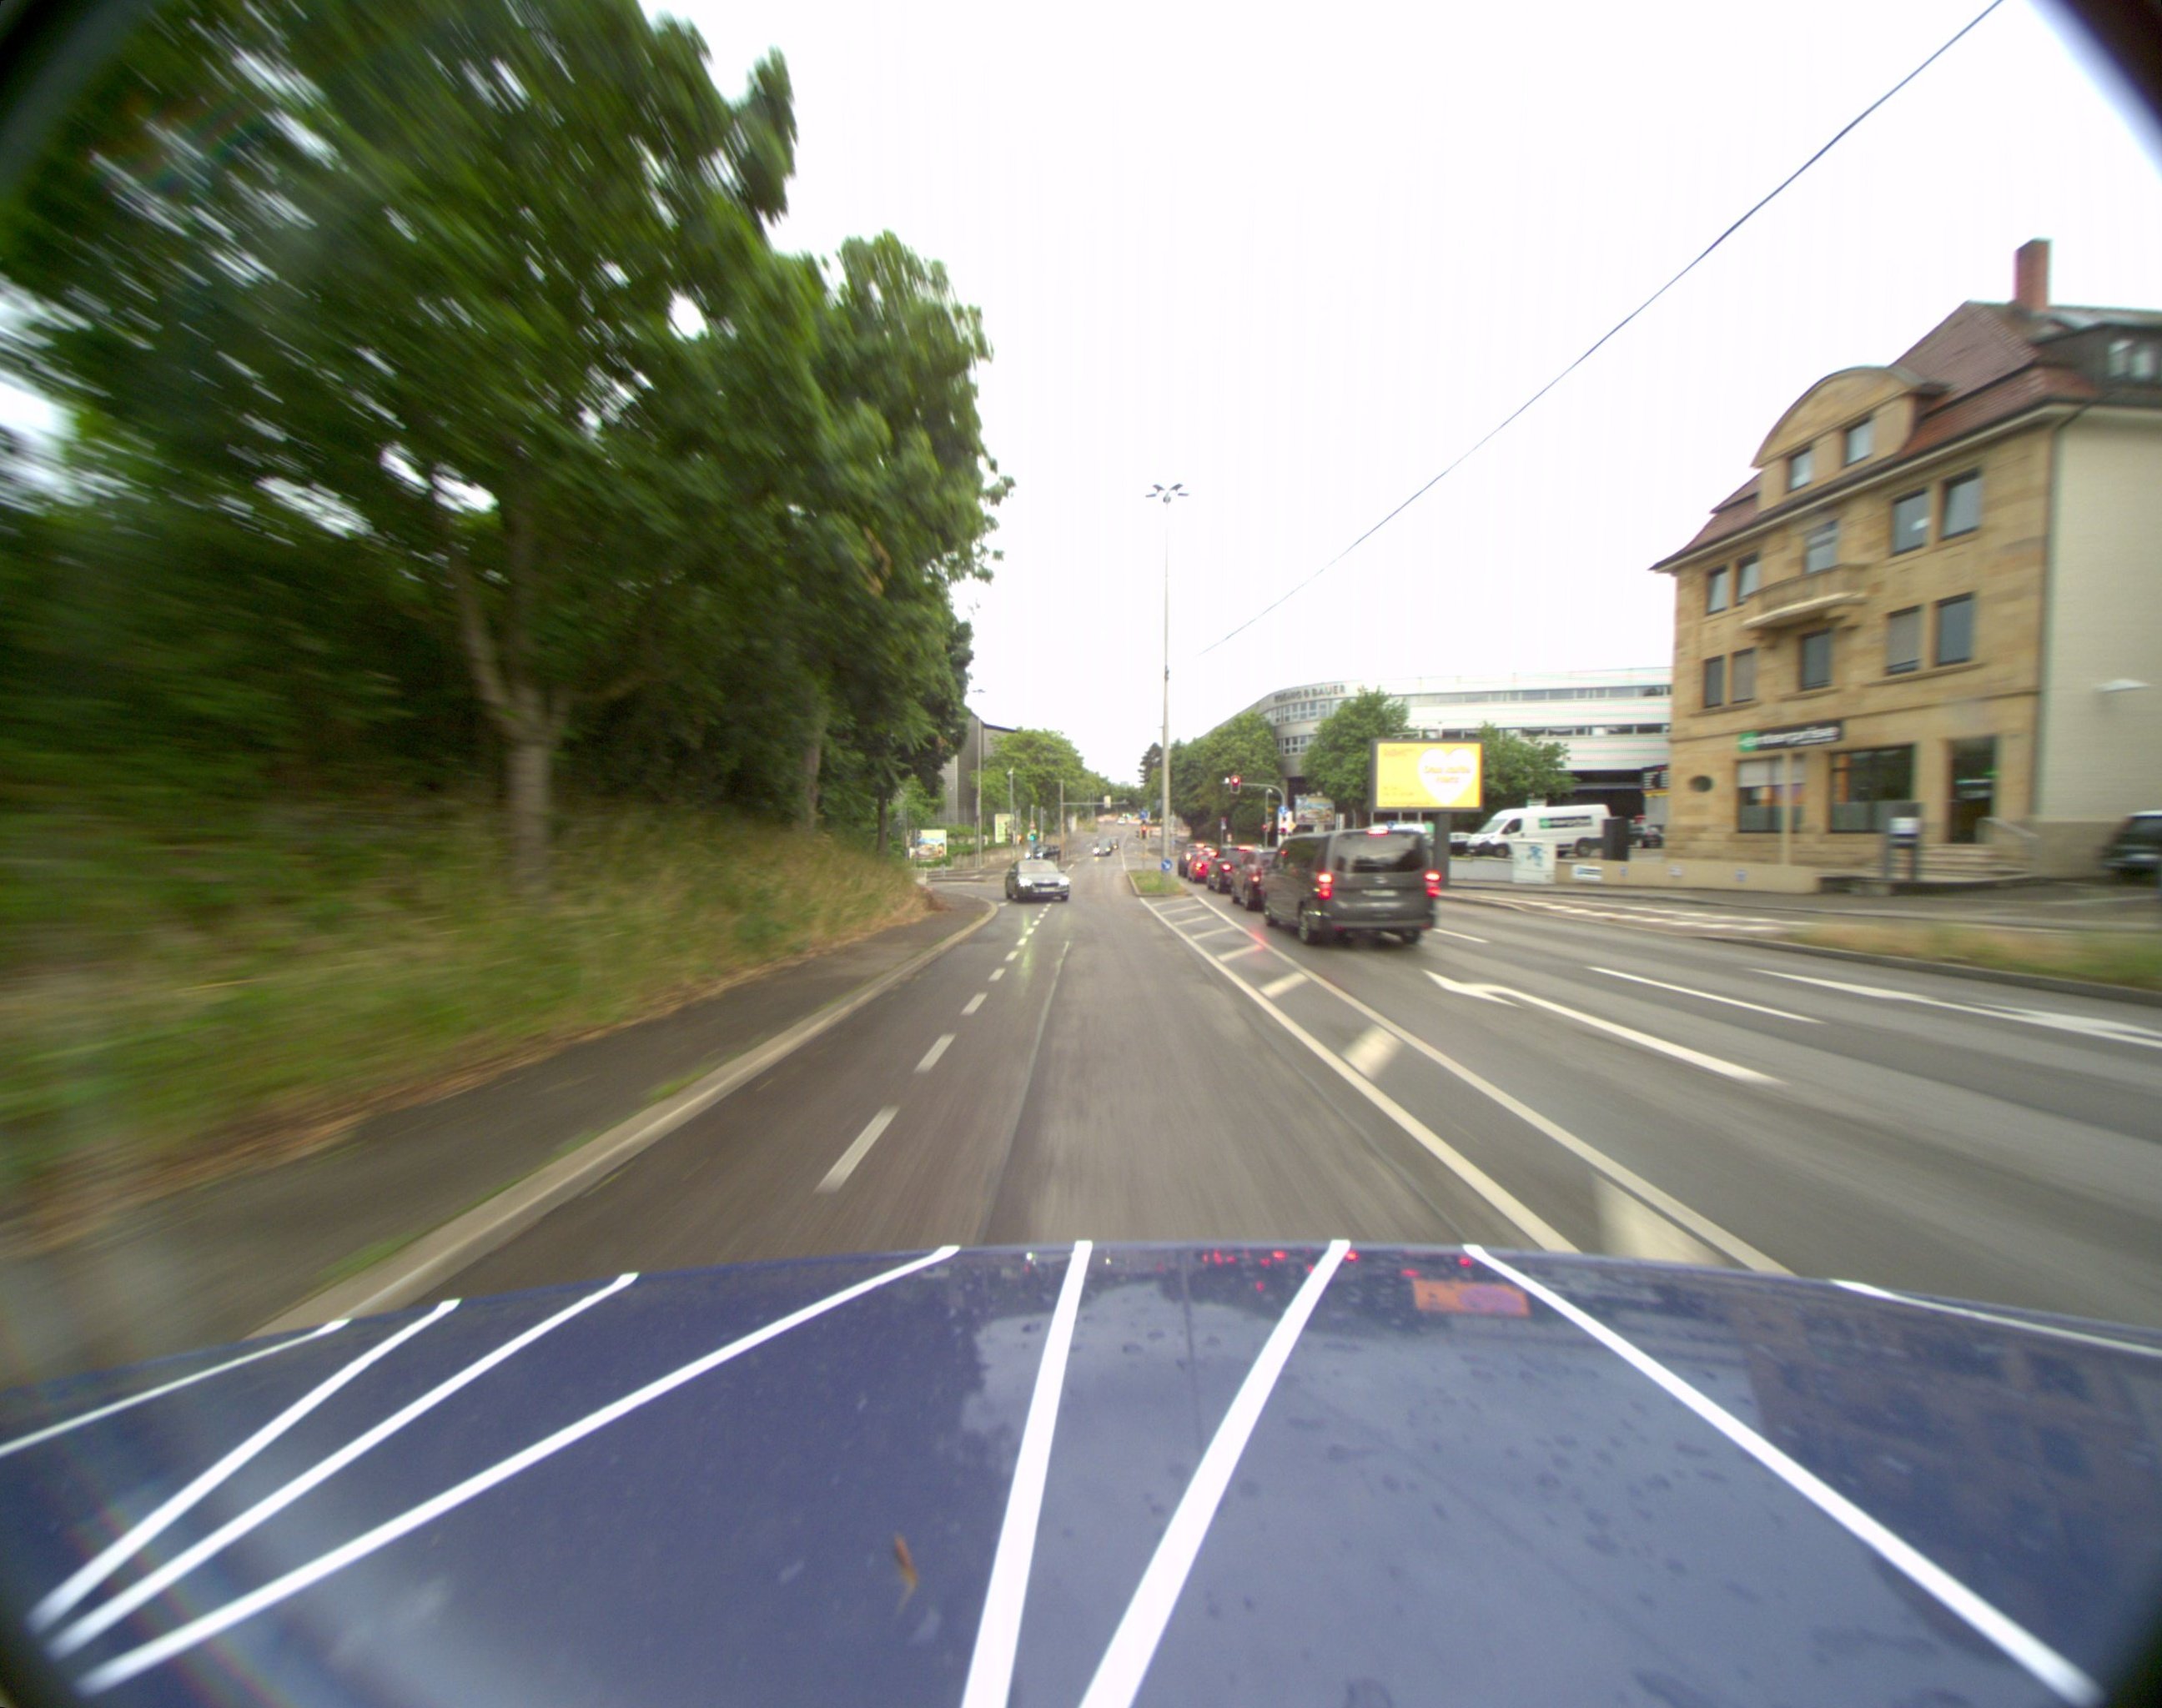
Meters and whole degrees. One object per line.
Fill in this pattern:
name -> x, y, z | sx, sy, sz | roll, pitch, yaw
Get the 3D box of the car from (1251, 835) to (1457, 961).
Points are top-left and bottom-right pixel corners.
car -> 4.581, 0.641, 13.715 | 2.019, 1.856, 5.041 | 0, 0, 2

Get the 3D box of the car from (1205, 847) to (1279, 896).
car -> 5.905, 0.569, 28.435 | 1.959, 1.687, 4.626 | 0, 1, 3

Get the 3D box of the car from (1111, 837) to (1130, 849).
car -> 5.223, -1.437, 99.932 | 1.750, 1.362, 3.758 | -3, 2, 14

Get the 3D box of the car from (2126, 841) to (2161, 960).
car -> 14.752, 0.577, 7.769 | 1.692, 1.525, 4.672 | 0, -1, -1

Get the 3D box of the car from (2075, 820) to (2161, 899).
car -> 24.411, 0.094, 16.649 | 3.051, 1.666, 1.714 | 0, 3, -3

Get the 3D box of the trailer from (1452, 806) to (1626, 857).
trailer -> 22.521, -1.123, 37.622 | 7.115, 2.415, 2.394 | 0, 3, 0

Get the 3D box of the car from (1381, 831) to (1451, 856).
car -> 20.786, -0.673, 47.236 | 3.620, 1.361, 1.741 | -3, 2, 2

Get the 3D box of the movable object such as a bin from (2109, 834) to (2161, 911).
movable object such as a bin -> 20.362, 0.328, 14.068 | 1.189, 1.398, 1.098 | -2, 0, -3

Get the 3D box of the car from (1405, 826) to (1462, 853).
car -> 20.589, -0.863, 44.426 | 2.684, 1.416, 1.227 | -3, 2, 2

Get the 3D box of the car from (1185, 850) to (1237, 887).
car -> 6.169, 0.625, 36.431 | 1.810, 1.522, 4.440 | 0, 2, 1

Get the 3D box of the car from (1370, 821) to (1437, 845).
car -> 21.064, -1.369, 49.741 | 3.620, 1.361, 1.872 | -3, 2, 2

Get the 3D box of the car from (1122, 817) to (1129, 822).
car -> 11.232, -8.763, 192.829 | 1.532, 1.307, 3.231 | 0, 2, 6

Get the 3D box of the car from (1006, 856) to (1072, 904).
car -> -1.574, 0.864, 27.073 | 1.812, 1.509, 4.049 | -3, 0, -10

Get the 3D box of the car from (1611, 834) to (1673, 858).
car -> 34.359, -0.517, 46.667 | 1.371, 1.398, 4.345 | 1, 1, 13

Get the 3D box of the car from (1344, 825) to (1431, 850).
car -> 22.038, -1.195, 54.776 | 5.371, 1.792, 2.218 | 0, 3, -6

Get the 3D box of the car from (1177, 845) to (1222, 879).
car -> 6.625, 0.385, 42.898 | 1.938, 1.808, 5.170 | 0, 1, 2

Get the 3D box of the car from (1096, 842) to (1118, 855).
car -> 2.899, -0.605, 83.621 | 1.595, 1.253, 3.758 | -3, 2, 14

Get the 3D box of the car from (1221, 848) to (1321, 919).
car -> 5.103, 0.704, 21.087 | 1.692, 1.595, 4.727 | 0, 2, 1

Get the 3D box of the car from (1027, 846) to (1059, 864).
car -> -3.749, 0.087, 75.954 | 1.950, 1.535, 4.213 | -3, 2, 14
